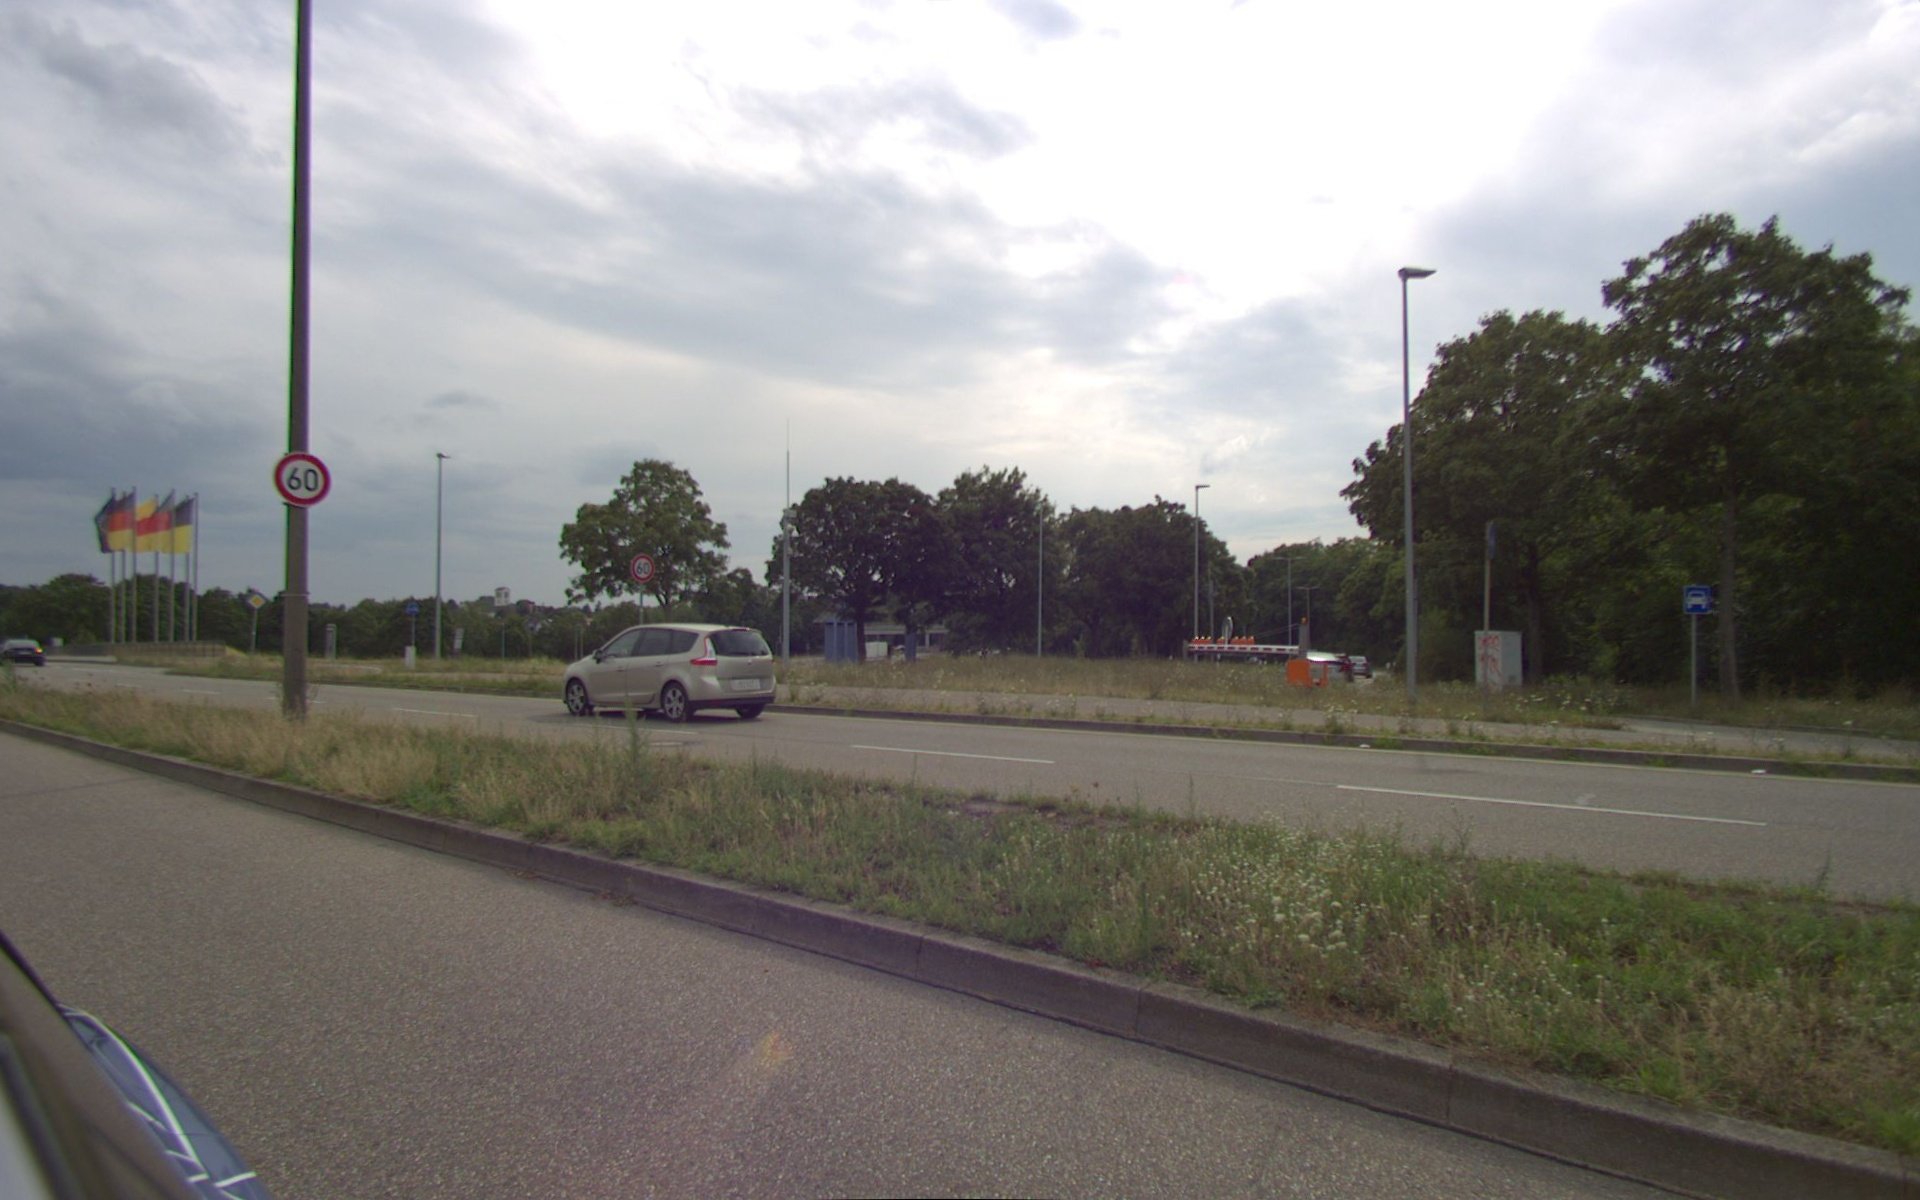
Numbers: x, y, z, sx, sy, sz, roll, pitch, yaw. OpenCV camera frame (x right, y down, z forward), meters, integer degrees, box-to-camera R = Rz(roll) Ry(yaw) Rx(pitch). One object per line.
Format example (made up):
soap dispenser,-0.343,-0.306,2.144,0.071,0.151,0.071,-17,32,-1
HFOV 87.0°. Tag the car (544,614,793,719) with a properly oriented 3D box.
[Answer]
car,-5.165,1.119,17.668,4.555,1.610,1.730,-2,-3,36

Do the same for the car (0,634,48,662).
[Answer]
car,-51.859,2.616,55.714,4.559,1.487,1.728,-2,-3,38

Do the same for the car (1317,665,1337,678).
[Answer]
car,42.467,8.211,117.150,1.558,1.407,3.864,-1,-3,11

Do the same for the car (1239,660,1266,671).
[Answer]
car,41.321,9.239,143.071,1.547,1.407,3.891,1,-3,-21

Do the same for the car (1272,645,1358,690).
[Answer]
car,12.393,2.322,35.625,1.728,1.457,4.455,0,-3,4
